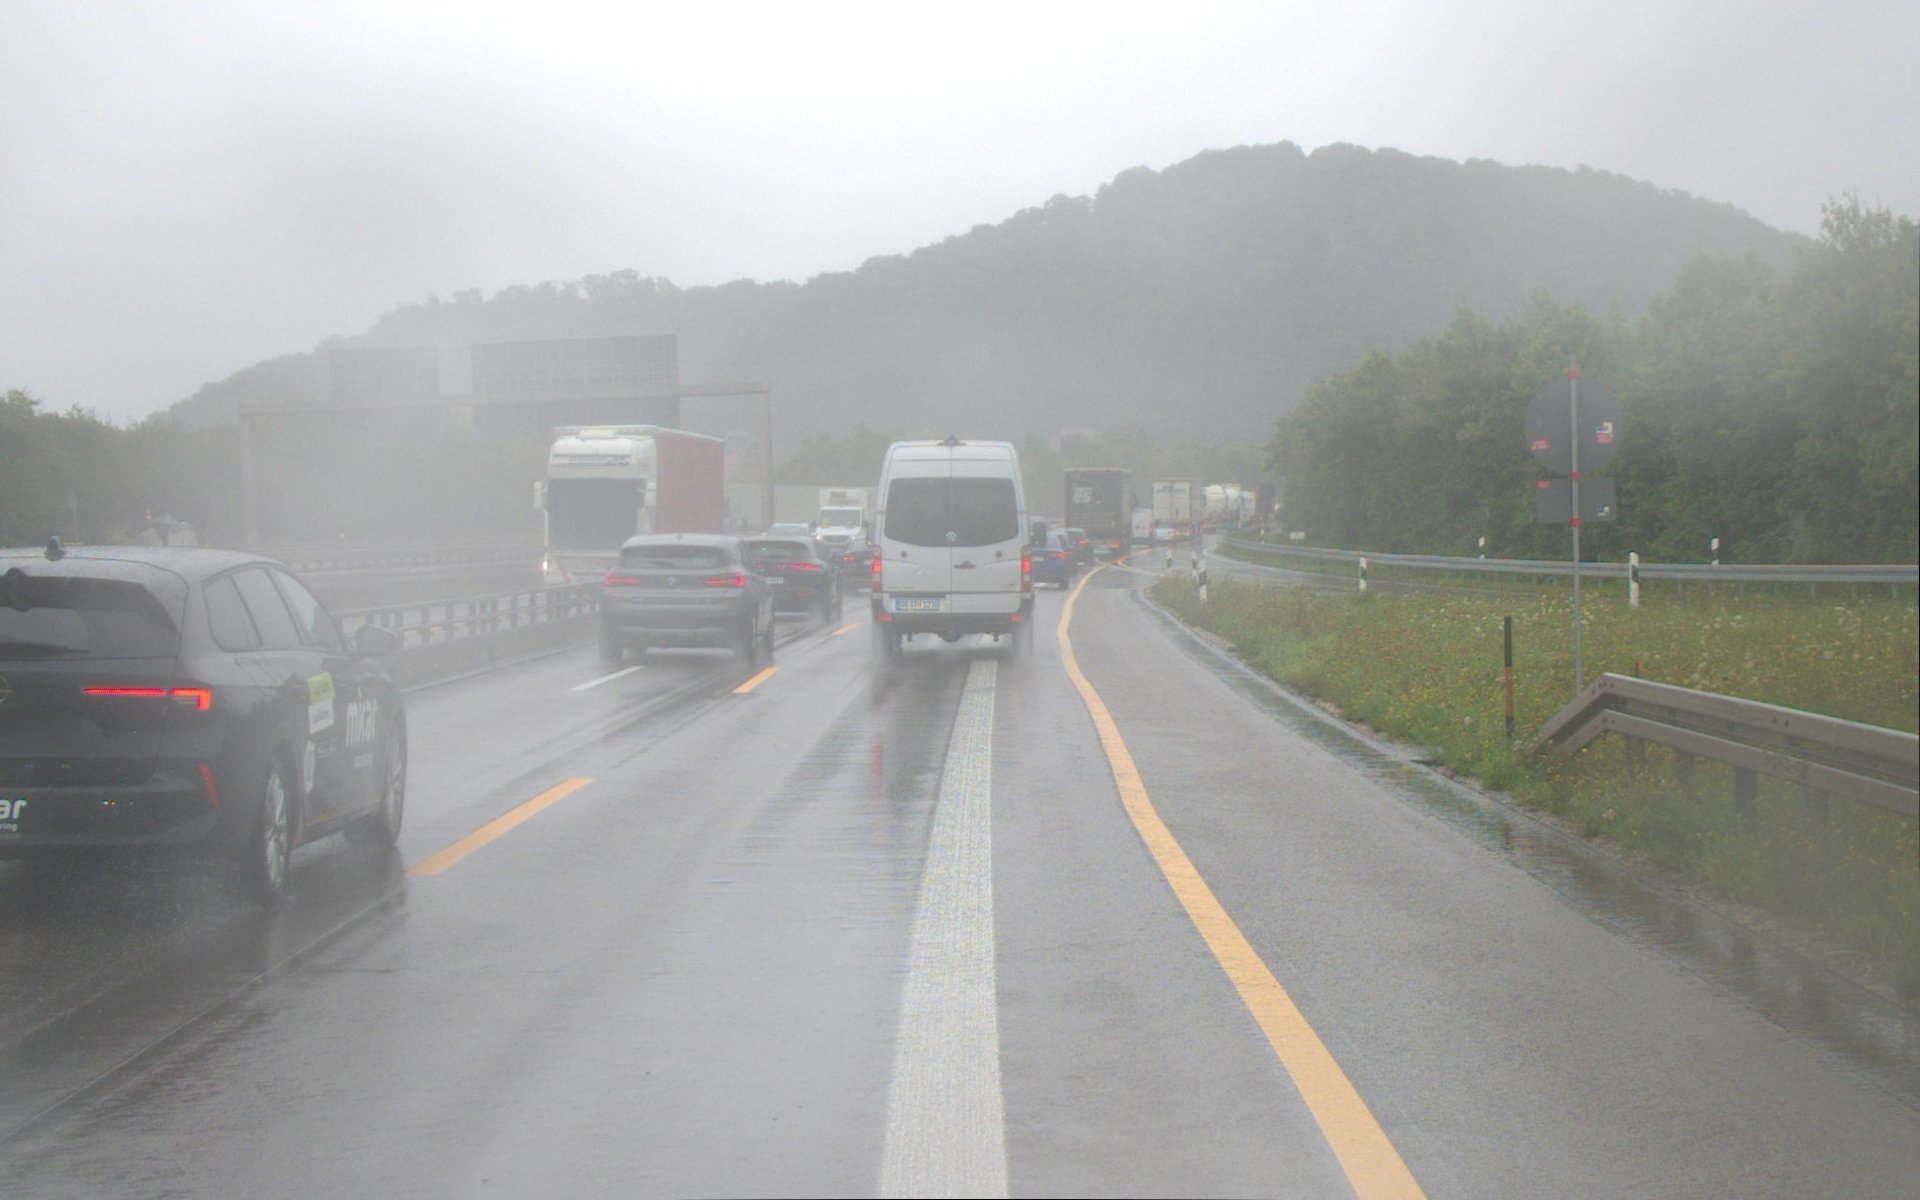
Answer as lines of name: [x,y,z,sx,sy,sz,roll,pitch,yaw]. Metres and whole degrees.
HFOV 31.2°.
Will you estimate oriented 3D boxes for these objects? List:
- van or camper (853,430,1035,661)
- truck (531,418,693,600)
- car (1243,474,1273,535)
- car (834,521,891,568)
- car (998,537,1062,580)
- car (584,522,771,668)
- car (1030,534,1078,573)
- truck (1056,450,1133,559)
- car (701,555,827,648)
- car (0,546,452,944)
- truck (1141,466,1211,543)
van or camper: [-0.153,-0.686,42.866,2.139,2.712,4.648,0,1,1]
truck: [-8.523,-2.213,84.970,3.008,4.257,6.800,-1,1,2]
car: [20.996,-6.712,242.619,2.058,4.177,6.745,0,1,5]
car: [-2.294,-1.317,81.394,1.262,1.074,3.255,0,1,0]
car: [1.794,-1.084,89.249,1.384,1.074,3.123,0,1,-4]
car: [-3.304,-0.092,40.903,1.867,1.653,3.988,0,1,0]
car: [3.020,-1.499,110.793,1.384,1.252,3.123,0,1,-2]
truck: [6.225,-4.311,158.241,3.321,4.768,9.906,1,1,2]
car: [-3.301,-0.004,58.524,1.852,1.495,4.000,0,1,1]
car: [-3.457,0.493,14.898,1.938,1.422,4.761,1,1,-2]
truck: [14.275,-6.239,226.334,3.929,4.768,9.904,1,1,7]
